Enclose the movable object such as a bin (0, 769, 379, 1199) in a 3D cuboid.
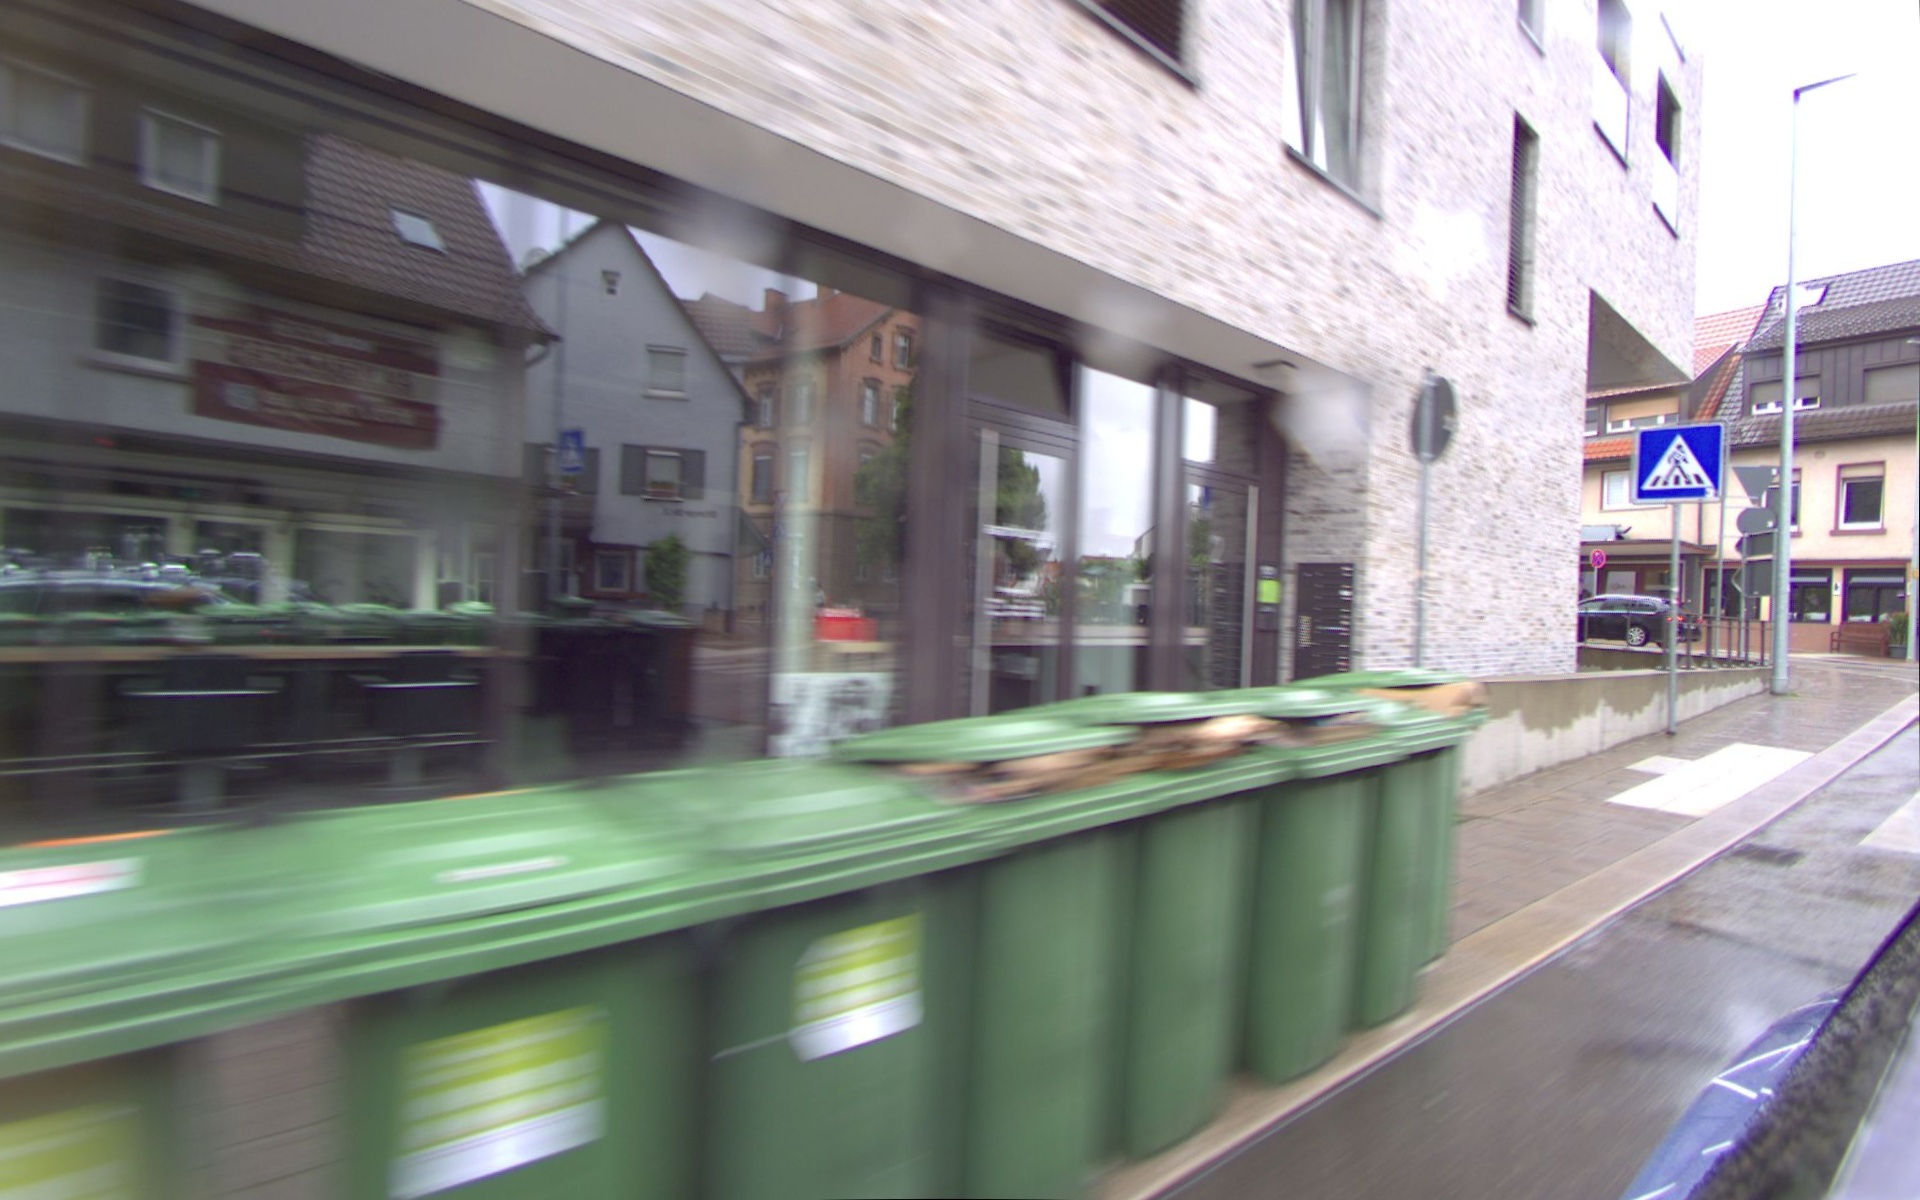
[{"bbox_3d":[-1.149,0.882,1.312,0.571,1.108,0.768,-1,4,-40],"label":"movable object such as a bin"}]
